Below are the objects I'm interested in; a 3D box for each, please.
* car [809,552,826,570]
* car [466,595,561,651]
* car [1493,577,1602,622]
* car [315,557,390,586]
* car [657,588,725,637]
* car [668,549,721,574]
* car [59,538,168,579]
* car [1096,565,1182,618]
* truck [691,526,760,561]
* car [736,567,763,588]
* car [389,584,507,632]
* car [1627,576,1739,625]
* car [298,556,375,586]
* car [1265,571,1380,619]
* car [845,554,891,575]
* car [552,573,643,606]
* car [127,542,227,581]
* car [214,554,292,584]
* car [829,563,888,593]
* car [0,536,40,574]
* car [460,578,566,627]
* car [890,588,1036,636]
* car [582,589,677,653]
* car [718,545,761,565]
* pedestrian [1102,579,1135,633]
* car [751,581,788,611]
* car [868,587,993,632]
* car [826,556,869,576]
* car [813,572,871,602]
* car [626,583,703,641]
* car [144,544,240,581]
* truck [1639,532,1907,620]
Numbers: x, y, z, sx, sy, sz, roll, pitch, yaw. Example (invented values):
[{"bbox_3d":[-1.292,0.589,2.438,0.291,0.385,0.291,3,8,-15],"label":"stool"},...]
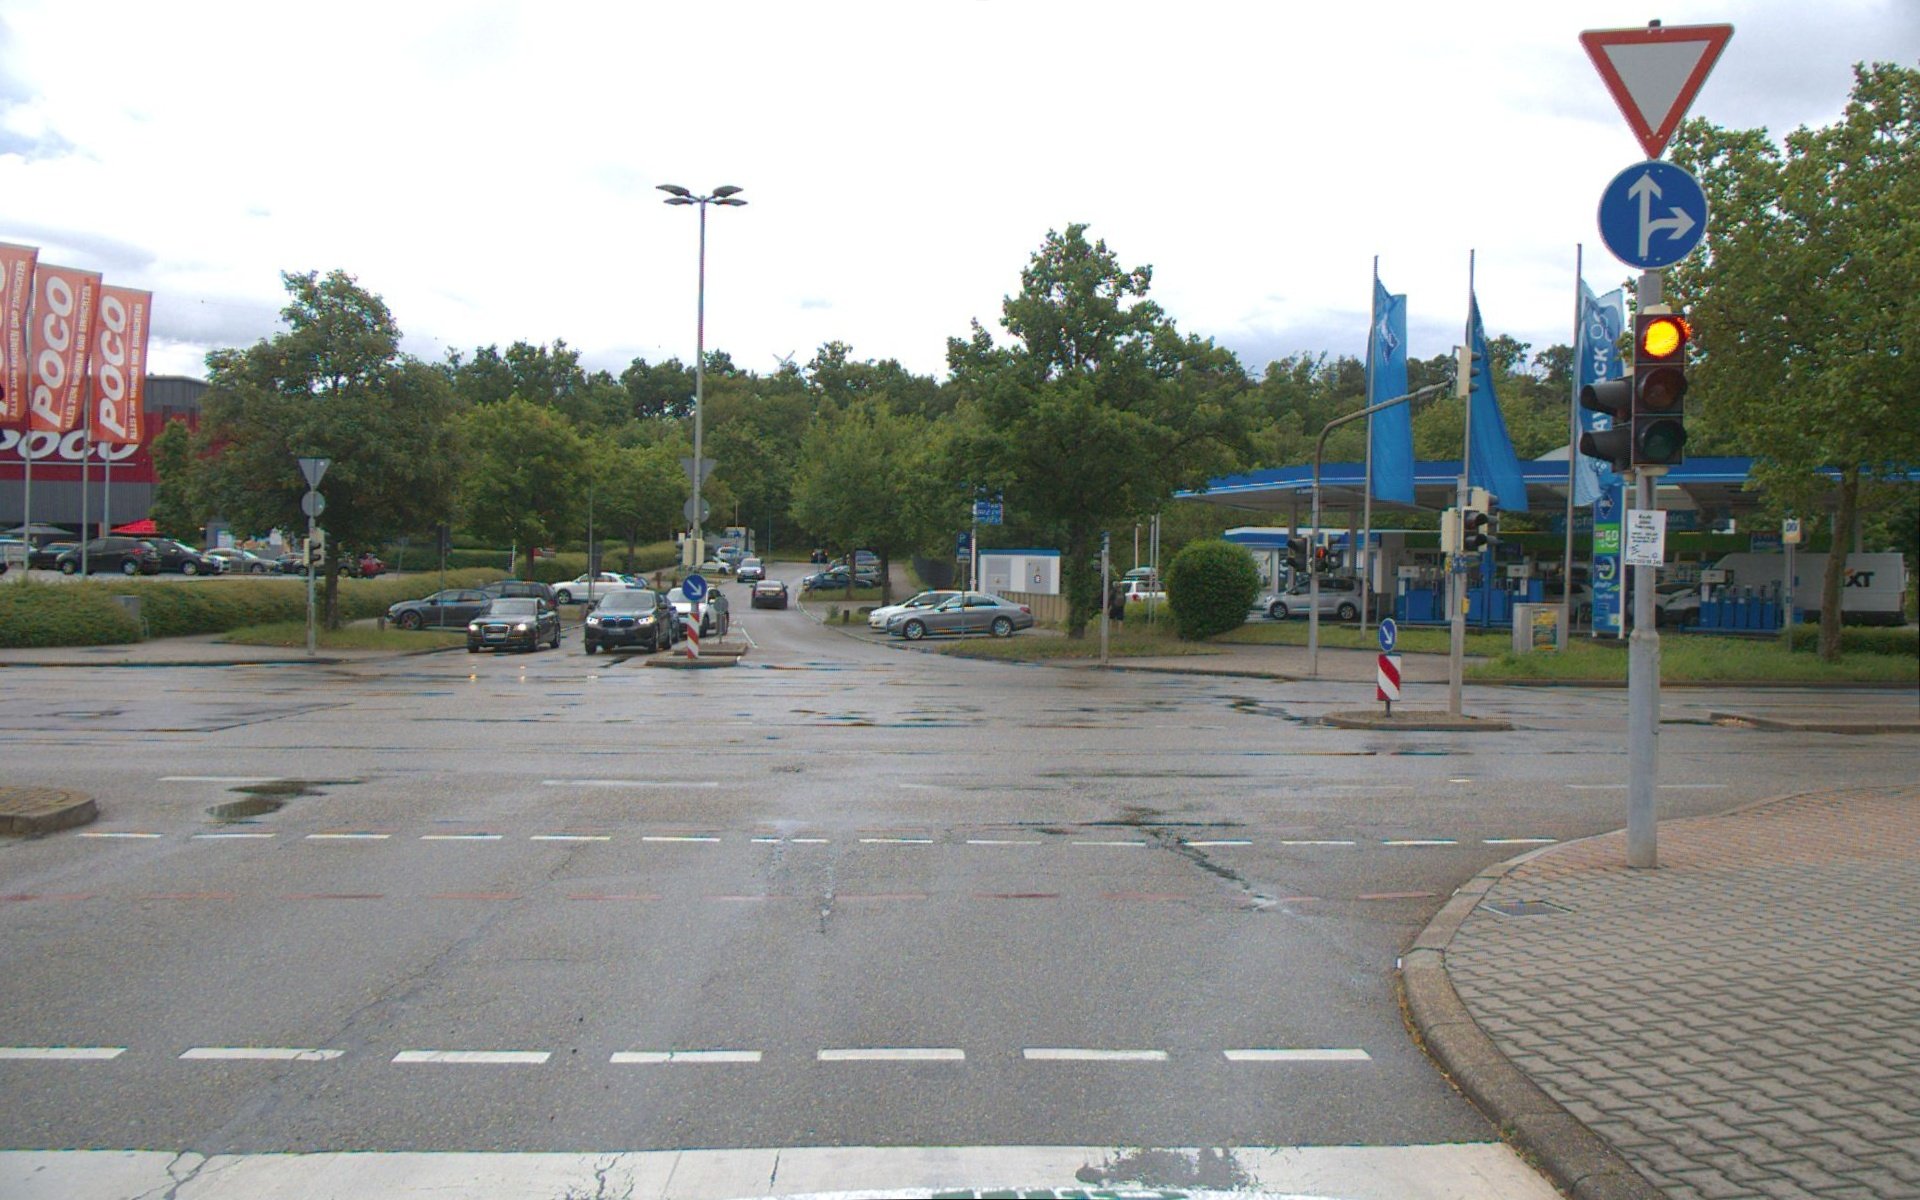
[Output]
[{"bbox_3d":[-15.583,-4.251,180.447,1.769,1.769,3.995,0,0,-5],"label":"car"},{"bbox_3d":[-12.096,0.602,45.027,1.747,1.429,3.997,0,0,-4],"label":"car"},{"bbox_3d":[23.448,-0.006,66.024,3.909,1.758,1.793,0,0,27],"label":"car"},{"bbox_3d":[-35.741,-1.654,97.356,3.736,1.674,1.673,0,0,1],"label":"car"},{"bbox_3d":[-8.998,0.399,55.542,1.858,1.580,3.997,0,0,-4],"label":"car"},{"bbox_3d":[-20.127,-2.892,125.621,3.911,1.825,1.853,0,0,-8],"label":"car"},{"bbox_3d":[-35.954,-1.772,70.286,3.736,1.674,1.673,0,0,1],"label":"car"},{"bbox_3d":[6.509,-0.302,60.447,1.780,1.828,3.682,1,0,-17],"label":"car"},{"bbox_3d":[-26.841,-6.470,189.454,7.209,3.928,2.780,0,0,8],"label":"truck"},{"bbox_3d":[-15.379,-1.616,121.050,1.663,1.481,3.671,0,0,-2],"label":"car"},{"bbox_3d":[-17.337,0.258,56.129,3.580,1.580,1.682,0,0,-8],"label":"car"},{"bbox_3d":[25.950,0.010,59.369,3.487,1.609,1.685,2,1,31],"label":"car"},{"bbox_3d":[-35.648,-1.664,94.571,3.736,1.674,1.673,0,0,1],"label":"car"},{"bbox_3d":[14.264,-0.185,65.121,4.037,1.839,1.943,0,0,29],"label":"car"},{"bbox_3d":[-8.011,-3.115,144.224,3.910,1.769,1.808,0,0,-7],"label":"car"},{"bbox_3d":[-18.148,-0.516,82.931,4.187,1.637,1.683,0,0,-4],"label":"car"},{"bbox_3d":[-35.628,-1.746,75.288,3.736,1.674,1.673,0,0,1],"label":"car"},{"bbox_3d":[-40.491,-1.752,94.753,3.736,1.674,1.673,0,0,1],"label":"car"},{"bbox_3d":[-6.433,-1.357,104.213,3.627,1.780,1.695,1,0,-6],"label":"car"},{"bbox_3d":[-37.531,-1.733,63.148,3.816,1.405,1.673,0,0,1],"label":"car"},{"bbox_3d":[-16.667,0.100,61.767,3.580,1.755,1.682,0,0,-8],"label":"car"},{"bbox_3d":[0.076,0.402,56.467,4.794,1.576,1.997,0,0,-8],"label":"car"},{"bbox_3d":[-8.701,0.532,43.880,1.858,1.580,4.588,0,0,-4],"label":"car"},{"bbox_3d":[-20.826,-4.234,156.240,3.907,1.825,1.855,0,0,-3],"label":"car"},{"bbox_3d":[5.027,0.189,52.454,0.795,1.690,0.883,0,-1,-14],"label":"pedestrian"},{"bbox_3d":[-9.721,-0.204,84.542,1.772,1.508,3.747,0,0,-5],"label":"car"},{"bbox_3d":[-1.130,0.368,61.723,4.486,1.617,1.926,0,0,-8],"label":"car"},{"bbox_3d":[-10.334,-3.117,151.617,3.910,1.769,1.808,0,0,-7],"label":"car"},{"bbox_3d":[-6.992,-0.774,97.684,3.393,1.683,1.614,1,0,-6],"label":"car"},{"bbox_3d":[-8.896,0.355,50.102,1.760,1.661,4.548,0,0,-4],"label":"car"},{"bbox_3d":[-36.186,-1.743,77.996,3.736,1.674,1.673,0,0,1],"label":"car"},{"bbox_3d":[26.288,-0.766,53.821,7.691,2.722,2.154,0,0,25],"label":"truck"}]
